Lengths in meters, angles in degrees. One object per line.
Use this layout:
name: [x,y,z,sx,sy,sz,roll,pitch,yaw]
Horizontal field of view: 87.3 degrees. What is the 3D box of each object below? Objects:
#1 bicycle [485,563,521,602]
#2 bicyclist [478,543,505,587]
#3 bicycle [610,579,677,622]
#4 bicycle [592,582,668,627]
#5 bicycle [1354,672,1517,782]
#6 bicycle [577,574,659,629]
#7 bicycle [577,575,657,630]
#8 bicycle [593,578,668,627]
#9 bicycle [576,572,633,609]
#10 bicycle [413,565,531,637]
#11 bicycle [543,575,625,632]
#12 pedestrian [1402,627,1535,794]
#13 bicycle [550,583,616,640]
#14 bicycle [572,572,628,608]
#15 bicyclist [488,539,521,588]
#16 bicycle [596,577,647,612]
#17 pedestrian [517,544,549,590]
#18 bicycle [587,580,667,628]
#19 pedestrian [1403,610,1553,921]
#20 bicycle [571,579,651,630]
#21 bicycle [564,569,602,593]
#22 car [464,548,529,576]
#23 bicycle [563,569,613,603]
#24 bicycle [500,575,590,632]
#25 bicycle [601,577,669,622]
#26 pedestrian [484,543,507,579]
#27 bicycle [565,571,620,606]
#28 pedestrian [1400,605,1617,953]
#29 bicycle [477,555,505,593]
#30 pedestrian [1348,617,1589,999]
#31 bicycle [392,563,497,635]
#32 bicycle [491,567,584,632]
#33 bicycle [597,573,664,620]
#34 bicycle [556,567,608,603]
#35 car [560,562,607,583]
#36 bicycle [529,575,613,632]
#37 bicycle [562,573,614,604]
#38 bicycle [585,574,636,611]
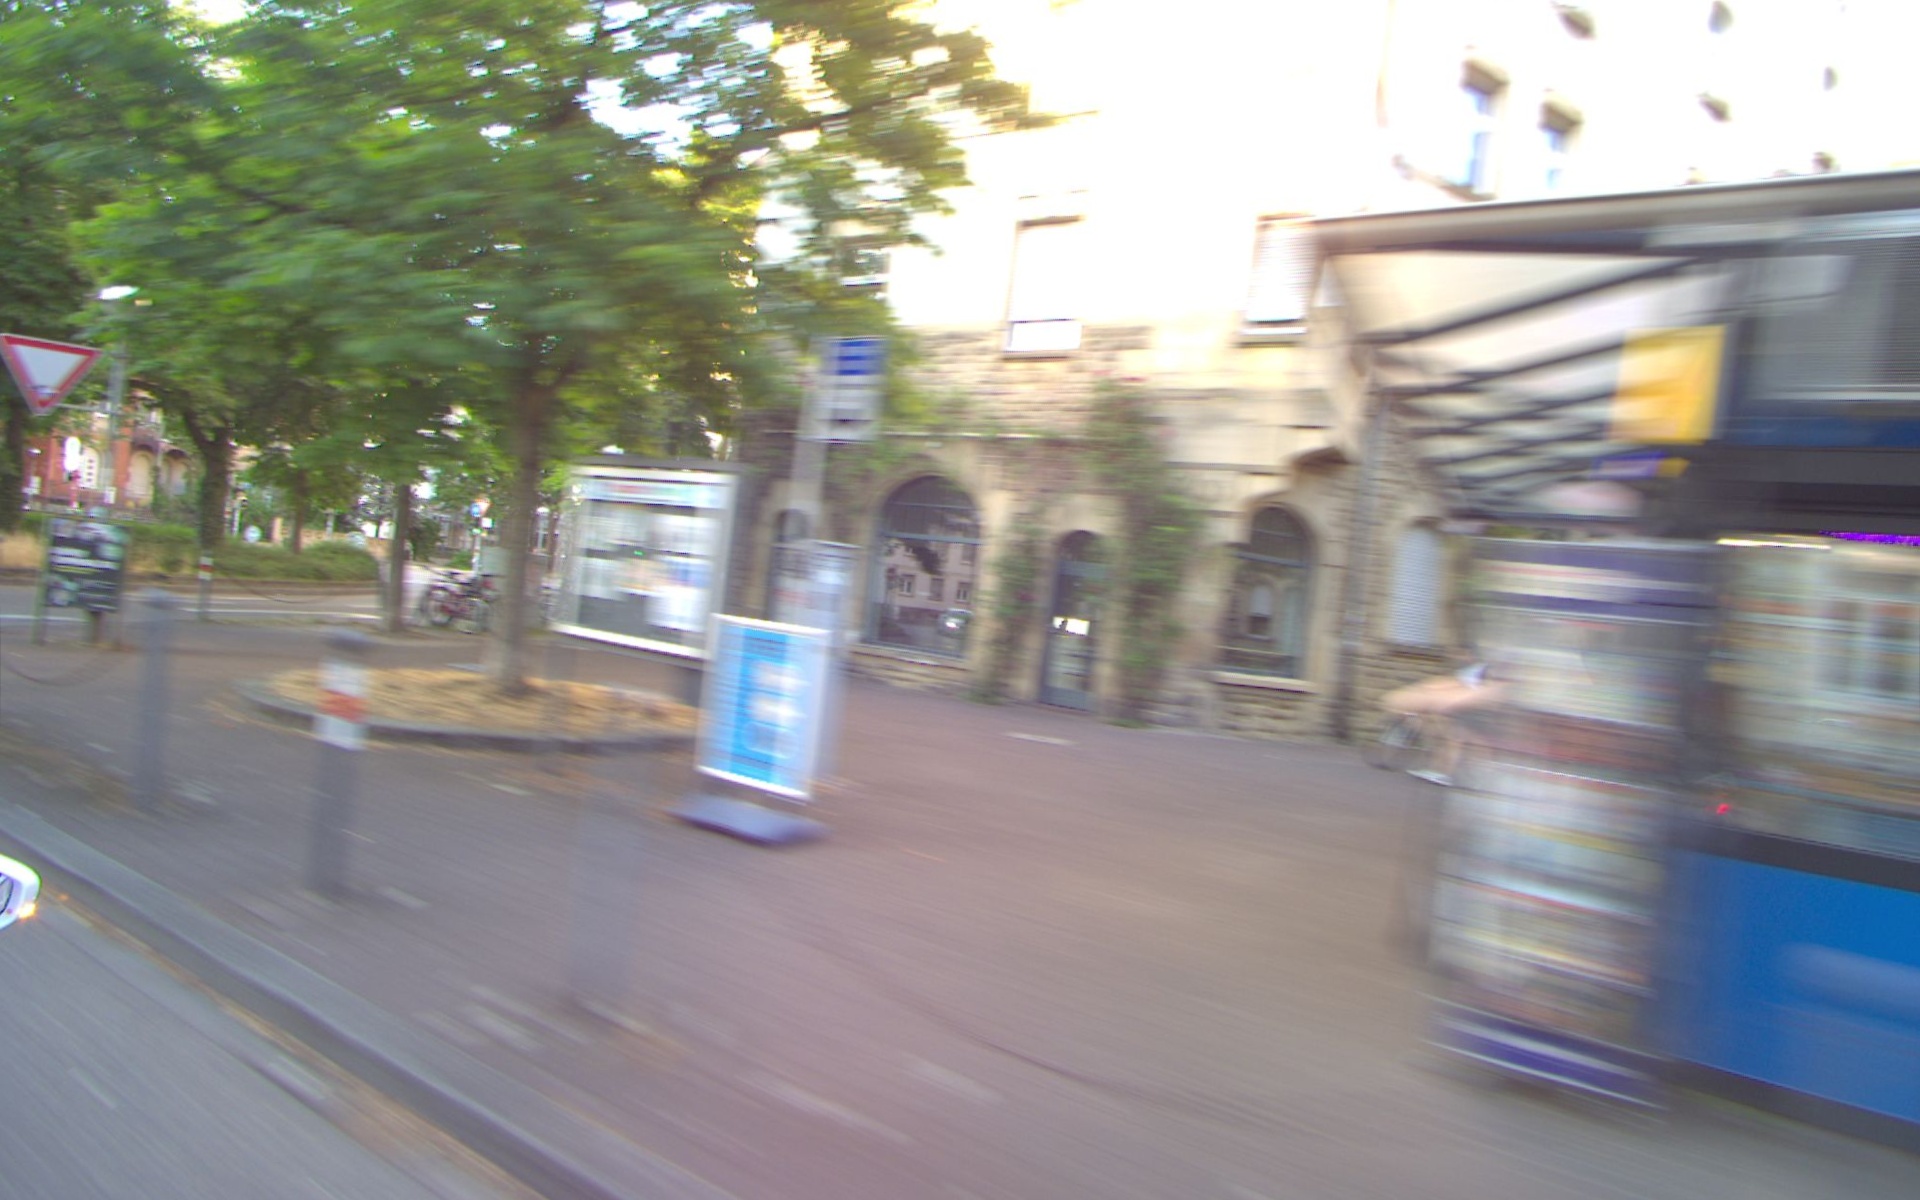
bicycle: [-14.265,-0.562,31.360,0.692,1.068,1.778,6,0,-32]
bicyclist: [-16.583,-1.233,35.644,0.690,1.480,0.780,6,1,-22]
bicycle: [-9.819,0.019,31.236,1.840,1.118,0.568,7,0,-38]
bicycle: [-9.025,0.129,27.556,1.824,1.027,0.418,7,1,-11]
bicycle: [6.020,1.606,12.727,1.887,1.203,0.632,6,1,-21]
bicycle: [-8.911,0.040,26.267,1.890,1.215,0.551,7,0,-13]
bicycle: [-8.706,0.062,25.563,1.766,1.183,0.447,7,1,-11]
bicycle: [-9.114,0.066,27.867,1.824,1.130,0.418,7,1,-11]
bicycle: [-13.615,-0.357,38.589,1.871,1.177,0.699,7,0,-31]
bicycle: [-8.526,0.020,17.593,1.863,1.052,0.432,7,1,9]
bicycle: [-8.460,0.084,22.675,1.580,1.089,0.418,7,1,-7]
pedestrian: [6.091,1.300,12.061,0.998,1.811,0.969,5,1,-42]
bicycle: [-7.073,0.229,18.945,0.424,0.981,1.727,6,0,3]
bicycle: [-14.018,-0.398,39.227,1.871,1.177,0.635,7,0,-31]
bicyclist: [-14.189,-1.143,31.331,0.693,1.429,0.857,6,1,-33]
bicycle: [-12.534,-0.201,37.274,1.654,1.092,0.483,7,0,-25]
pedestrian: [-21.038,-1.616,49.550,0.996,2.113,1.059,6,2,-4]
bicycle: [-8.930,0.111,27.013,1.890,1.078,0.551,7,0,-13]
pedestrian: [3.063,0.933,5.955,0.581,1.658,0.677,7,1,29]
bicycle: [-8.709,0.107,25.151,1.766,1.077,0.447,7,1,-11]
bicycle: [-21.563,-1.097,57.576,1.855,1.144,0.727,7,0,-27]
car: [-33.600,-2.722,73.090,1.913,1.528,4.422,7,-1,12]
bicycle: [-15.831,-0.601,42.822,1.781,1.252,0.643,7,0,-43]
bicycle: [-8.798,0.075,21.363,1.578,1.033,0.555,7,0,-3]
bicycle: [-9.893,-0.002,30.676,1.826,1.159,0.417,7,1,-15]
pedestrian: [-24.899,-2.076,53.974,0.857,1.817,0.920,6,1,-19]
bicycle: [-14.515,-0.448,39.778,1.878,1.177,0.633,7,0,-42]
pedestrian: [2.847,0.887,5.291,0.580,1.658,0.678,6,1,0]
bicycle: [-16.620,-0.933,35.654,0.690,1.252,1.853,6,0,-22]
pedestrian: [2.285,0.890,4.603,0.580,1.558,0.678,6,1,0]
bicycle: [-8.847,-0.020,17.269,1.577,1.052,0.432,7,1,9]
bicycle: [-8.767,0.000,20.920,1.578,1.162,0.555,7,1,-3]
bicycle: [-10.322,-0.095,31.593,1.855,1.229,0.492,7,-5,-15]
bicycle: [-15.632,-0.610,41.662,1.780,1.252,0.691,7,0,-42]
car: [-34.556,-2.492,92.504,1.972,1.444,4.635,7,-1,8]
bicycle: [-8.600,0.075,22.277,1.580,1.077,0.418,7,1,-7]
bicycle: [-15.151,-0.462,40.962,1.794,1.051,0.691,7,0,-42]
bicycle: [-12.977,-0.285,37.387,1.653,1.144,0.482,7,7,-24]
